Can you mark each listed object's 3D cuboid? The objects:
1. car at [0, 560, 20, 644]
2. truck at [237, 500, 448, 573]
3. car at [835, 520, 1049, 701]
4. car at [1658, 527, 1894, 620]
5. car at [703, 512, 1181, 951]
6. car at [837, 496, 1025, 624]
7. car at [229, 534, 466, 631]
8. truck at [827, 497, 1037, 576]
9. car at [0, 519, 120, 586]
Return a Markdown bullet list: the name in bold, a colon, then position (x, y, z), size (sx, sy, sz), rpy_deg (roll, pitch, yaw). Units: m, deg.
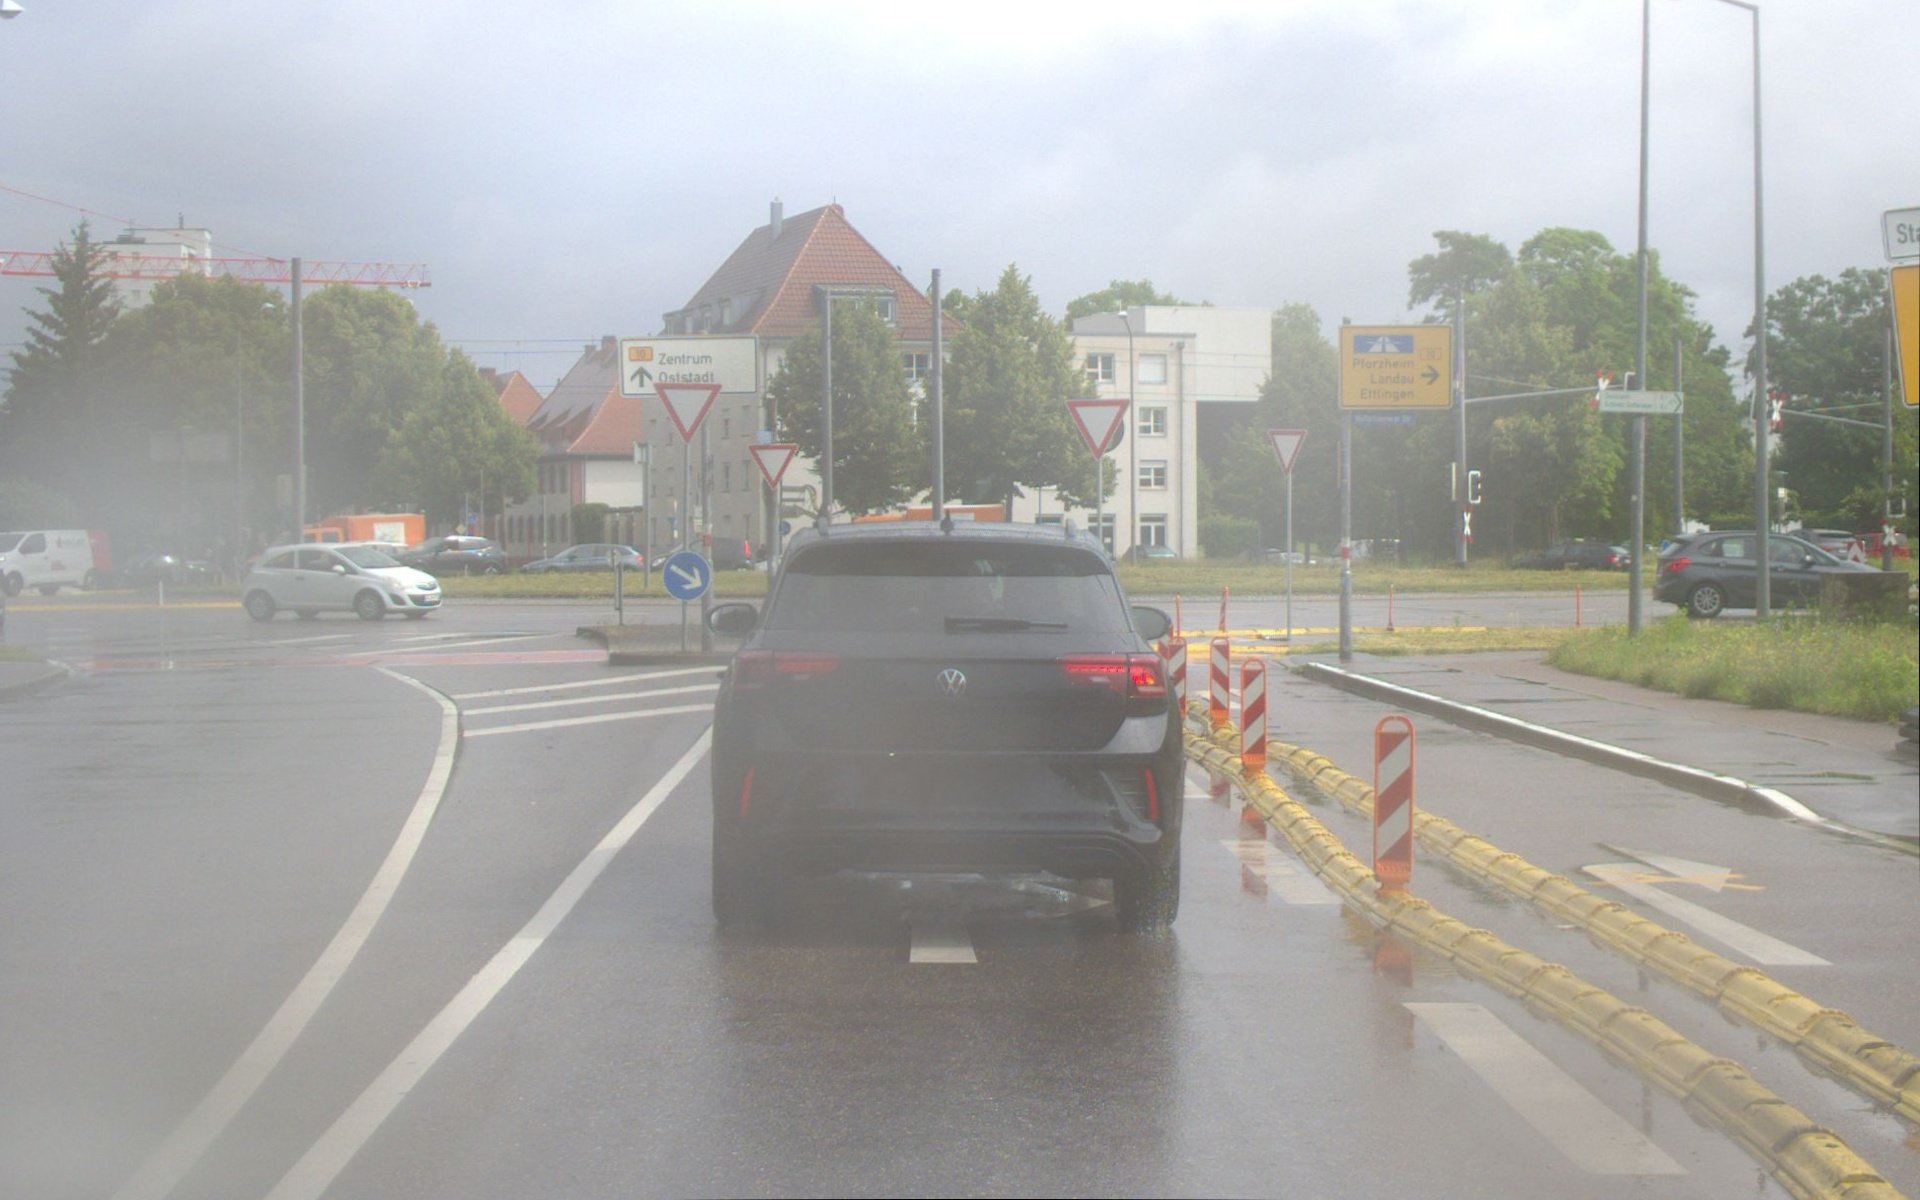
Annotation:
- **car**: position (-19.956, 0.125, 64.915), size (4.420, 1.546, 1.783), rpy_deg (-2, 2, 35)
- **truck**: position (-21.148, -2.192, 117.986), size (6.703, 2.434, 2.434), rpy_deg (-1, 1, -34)
- **car**: position (-0.215, 0.050, 30.533), size (1.735, 1.509, 3.604), rpy_deg (0, 1, -3)
- **car**: position (14.739, -0.485, 62.230), size (3.942, 1.639, 1.671), rpy_deg (0, 1, 6)
- **car**: position (-0.188, 0.454, 14.253), size (1.708, 1.568, 3.683), rpy_deg (1, 1, -4)
- **car**: position (-0.377, -0.607, 50.887), size (1.865, 1.803, 4.401), rpy_deg (0, 1, 12)
- **car**: position (-11.709, -0.347, 65.764), size (3.991, 1.824, 1.998), rpy_deg (0, 1, 20)
- **truck**: position (-0.942, -2.161, 116.837), size (7.066, 2.641, 2.330), rpy_deg (0, 1, 0)
- **car**: position (-26.784, -1.394, 99.208), size (1.891, 1.870, 5.124), rpy_deg (0, 1, 30)
